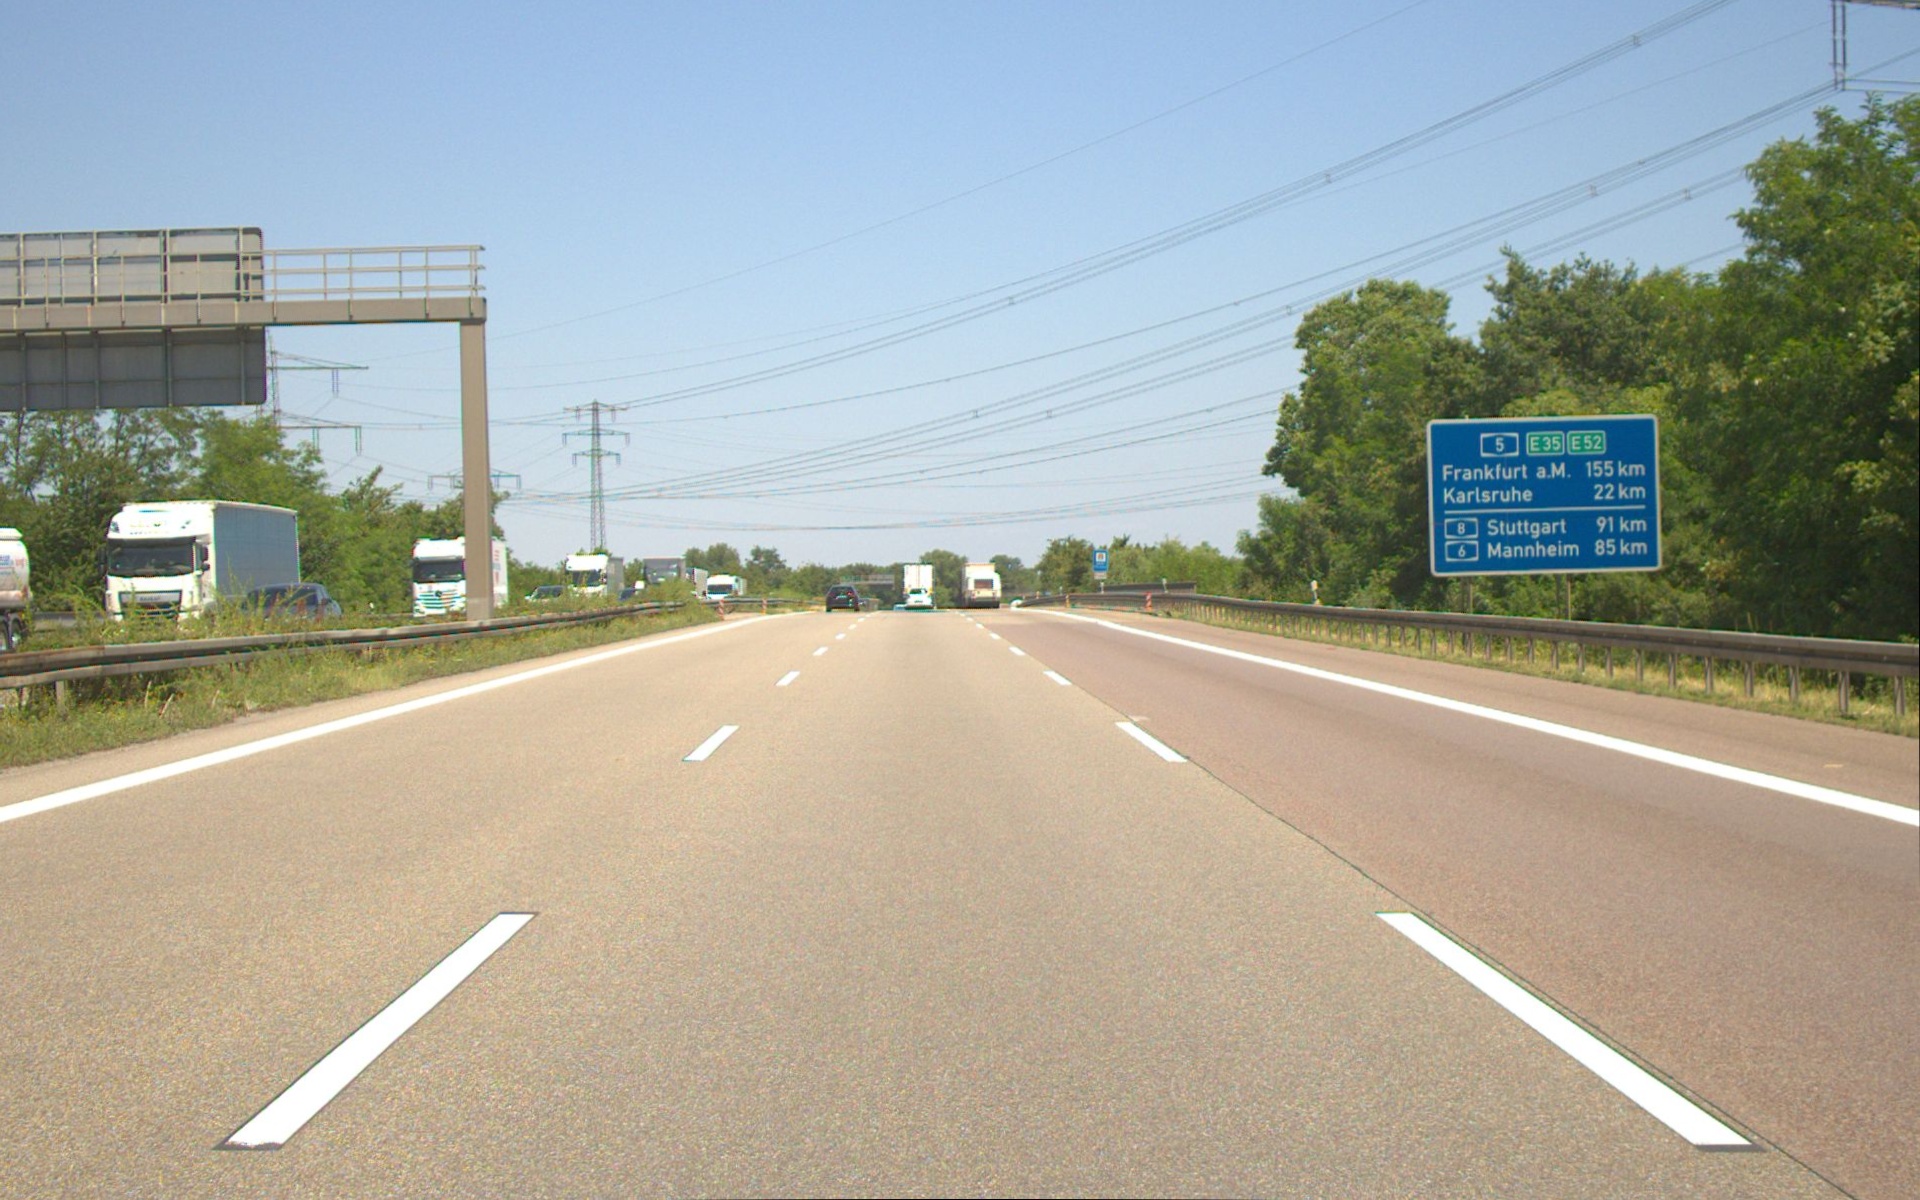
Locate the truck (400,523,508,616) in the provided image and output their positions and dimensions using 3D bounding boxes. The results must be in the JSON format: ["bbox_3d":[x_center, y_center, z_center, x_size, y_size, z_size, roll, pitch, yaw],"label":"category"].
[{"bbox_3d":[-23.651,-1.431,161.631,2.961,4.077,17.029,-1,0,-1],"label":"truck"}]

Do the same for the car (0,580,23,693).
[{"bbox_3d":[-13.766,0.520,44.802,1.993,1.505,4.243,-1,1,-1],"label":"car"}]

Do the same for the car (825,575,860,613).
[{"bbox_3d":[-6.345,-0.347,186.465,1.791,2.007,3.888,0,1,0],"label":"car"}]

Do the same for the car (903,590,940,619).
[{"bbox_3d":[-2.612,0.306,234.663,2.177,1.923,4.611,-1,1,3],"label":"car"}]

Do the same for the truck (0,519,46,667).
[{"bbox_3d":[-22.098,-0.128,73.661,2.712,3.197,8.925,-1,0,-1],"label":"truck"}]

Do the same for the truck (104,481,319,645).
[{"bbox_3d":[-21.742,-1.067,101.101,2.712,4.374,17.327,-1,0,-1],"label":"truck"}]

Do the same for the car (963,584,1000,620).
[{"bbox_3d":[1.229,0.112,199.470,1.993,2.007,4.000,-1,1,-1],"label":"car"}]
